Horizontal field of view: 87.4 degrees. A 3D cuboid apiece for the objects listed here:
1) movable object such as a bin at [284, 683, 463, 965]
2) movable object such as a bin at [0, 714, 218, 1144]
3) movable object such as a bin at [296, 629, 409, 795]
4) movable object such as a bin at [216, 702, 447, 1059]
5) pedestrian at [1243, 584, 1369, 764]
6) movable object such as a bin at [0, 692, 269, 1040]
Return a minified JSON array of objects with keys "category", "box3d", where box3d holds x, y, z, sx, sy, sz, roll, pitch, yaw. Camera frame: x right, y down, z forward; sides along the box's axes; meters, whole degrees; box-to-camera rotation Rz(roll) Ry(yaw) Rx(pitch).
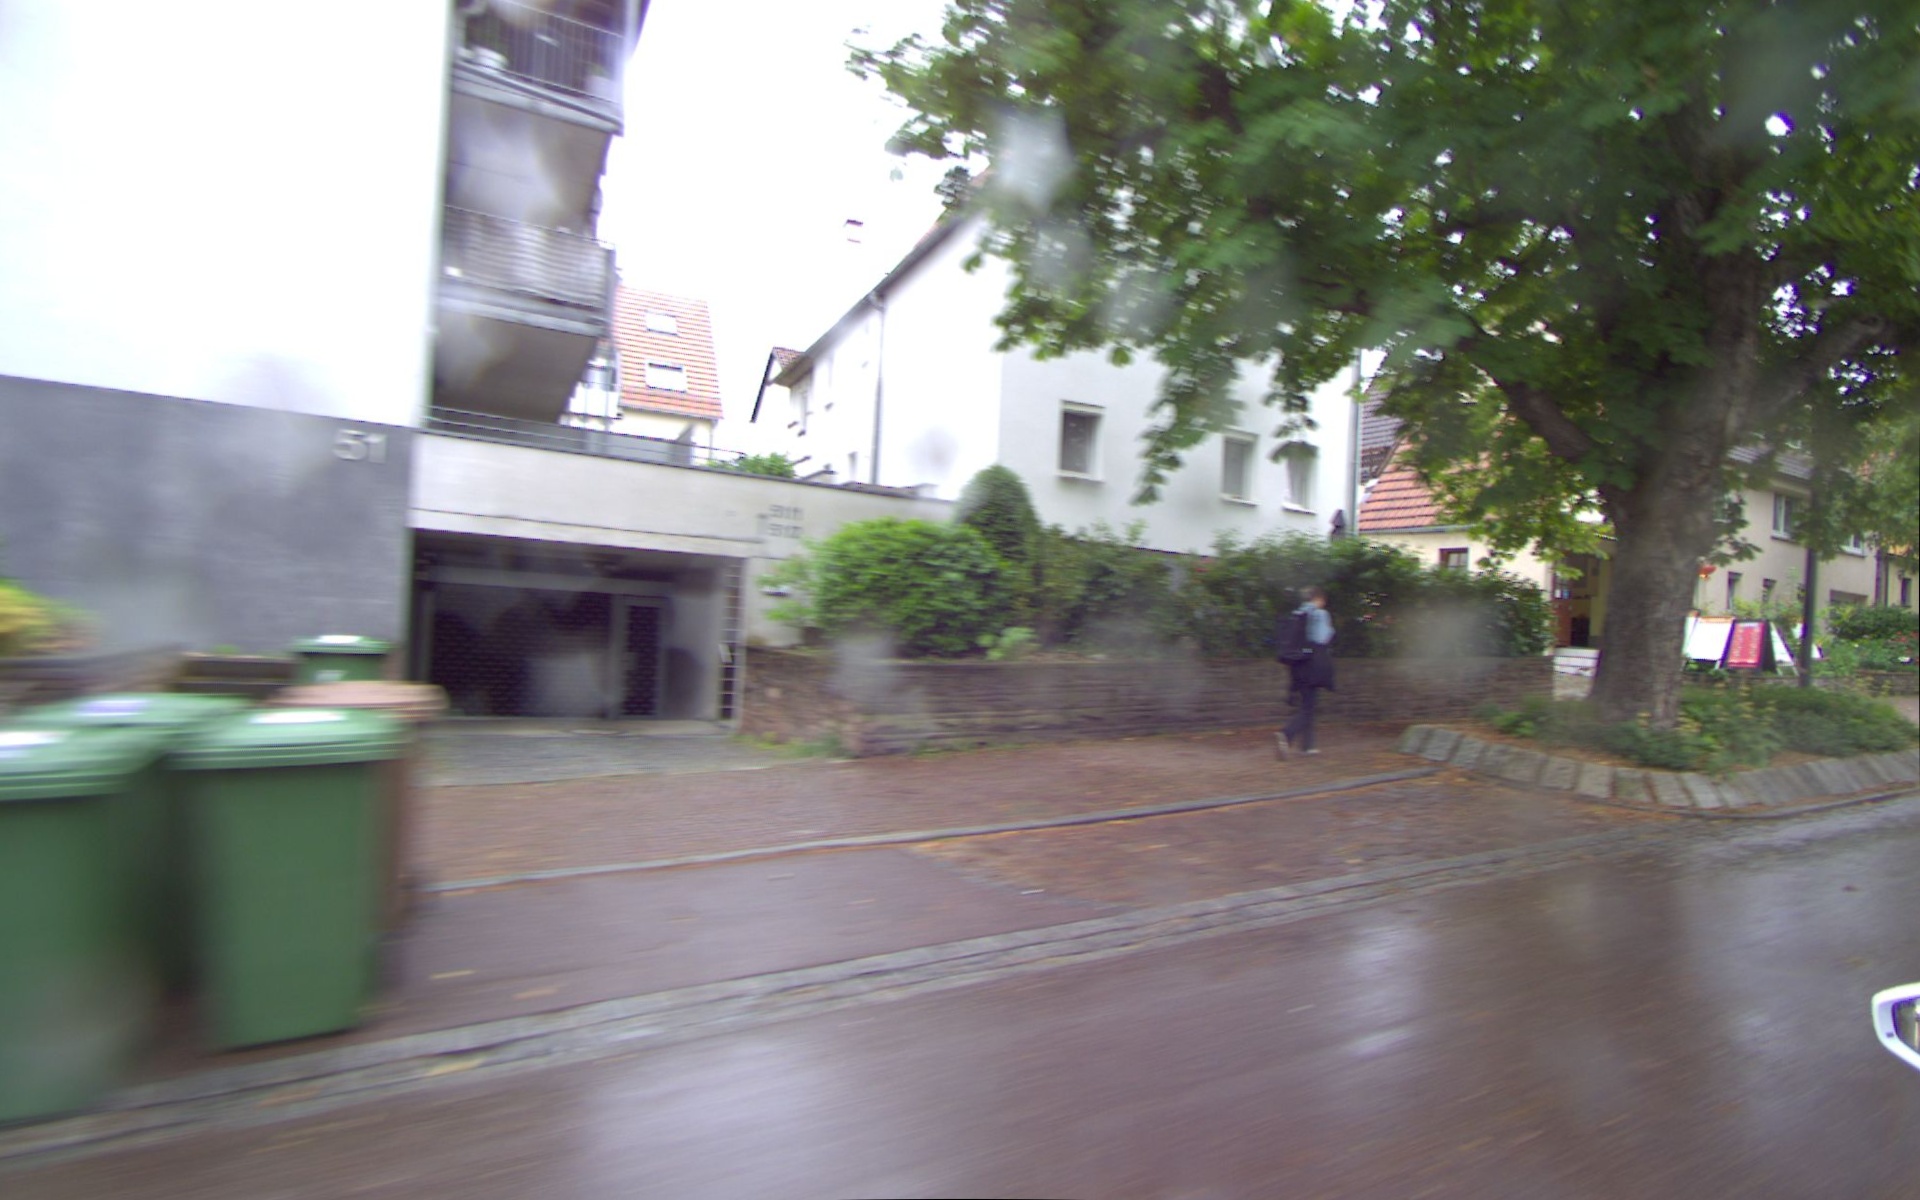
[{"category":"movable object such as a bin","box3d":[-2.566,0.936,4.460,0.588,1.088,0.661,2,-2,-25]},{"category":"movable object such as a bin","box3d":[-2.687,0.919,3.007,0.588,1.088,0.661,2,-2,-25]},{"category":"movable object such as a bin","box3d":[-4.508,0.803,7.496,0.650,1.148,0.660,2,0,-28]},{"category":"movable object such as a bin","box3d":[-2.223,0.937,3.634,0.588,1.081,0.661,2,-2,-25]},{"category":"pedestrian","box3d":[3.270,0.673,9.502,0.921,1.615,0.647,2,0,-30]},{"category":"movable object such as a bin","box3d":[-2.996,0.907,3.708,0.588,1.088,0.661,2,-2,-25]}]
